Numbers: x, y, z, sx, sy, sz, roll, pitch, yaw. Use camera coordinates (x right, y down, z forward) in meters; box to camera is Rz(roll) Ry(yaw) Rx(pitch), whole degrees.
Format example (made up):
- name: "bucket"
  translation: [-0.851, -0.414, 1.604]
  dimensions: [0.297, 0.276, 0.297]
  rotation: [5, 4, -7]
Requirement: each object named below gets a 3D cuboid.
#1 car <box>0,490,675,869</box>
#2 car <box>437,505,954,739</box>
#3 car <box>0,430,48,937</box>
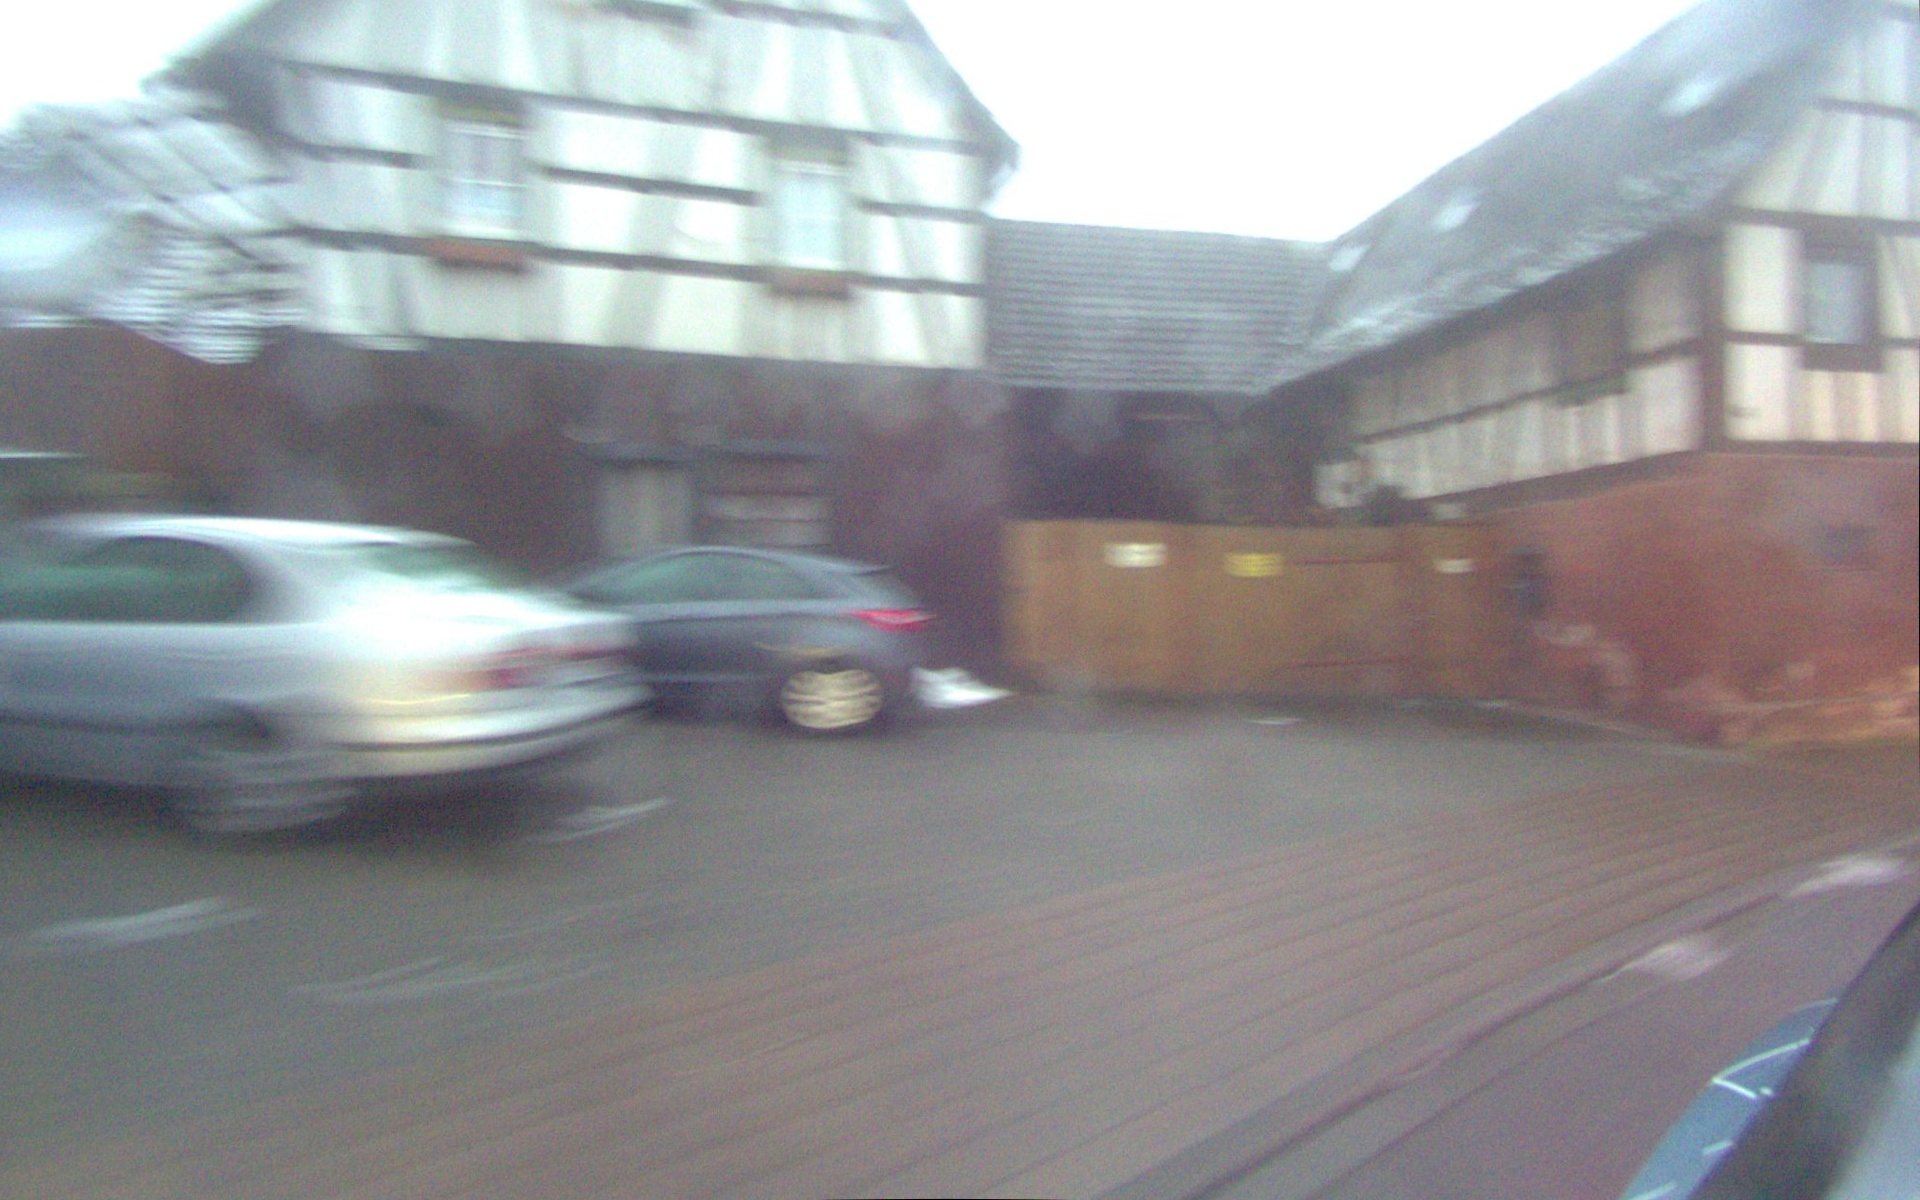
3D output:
- name: "car"
  translation: [-3.820, 0.232, 5.443]
  dimensions: [3.971, 1.437, 1.812]
  rotation: [4, 3, 8]
- name: "car"
  translation: [-2.063, 0.126, 8.600]
  dimensions: [3.910, 1.534, 1.598]
  rotation: [4, 3, 1]
- name: "car"
  translation: [-5.412, 0.160, 2.797]
  dimensions: [4.400, 1.680, 1.853]
  rotation: [4, 3, 7]
